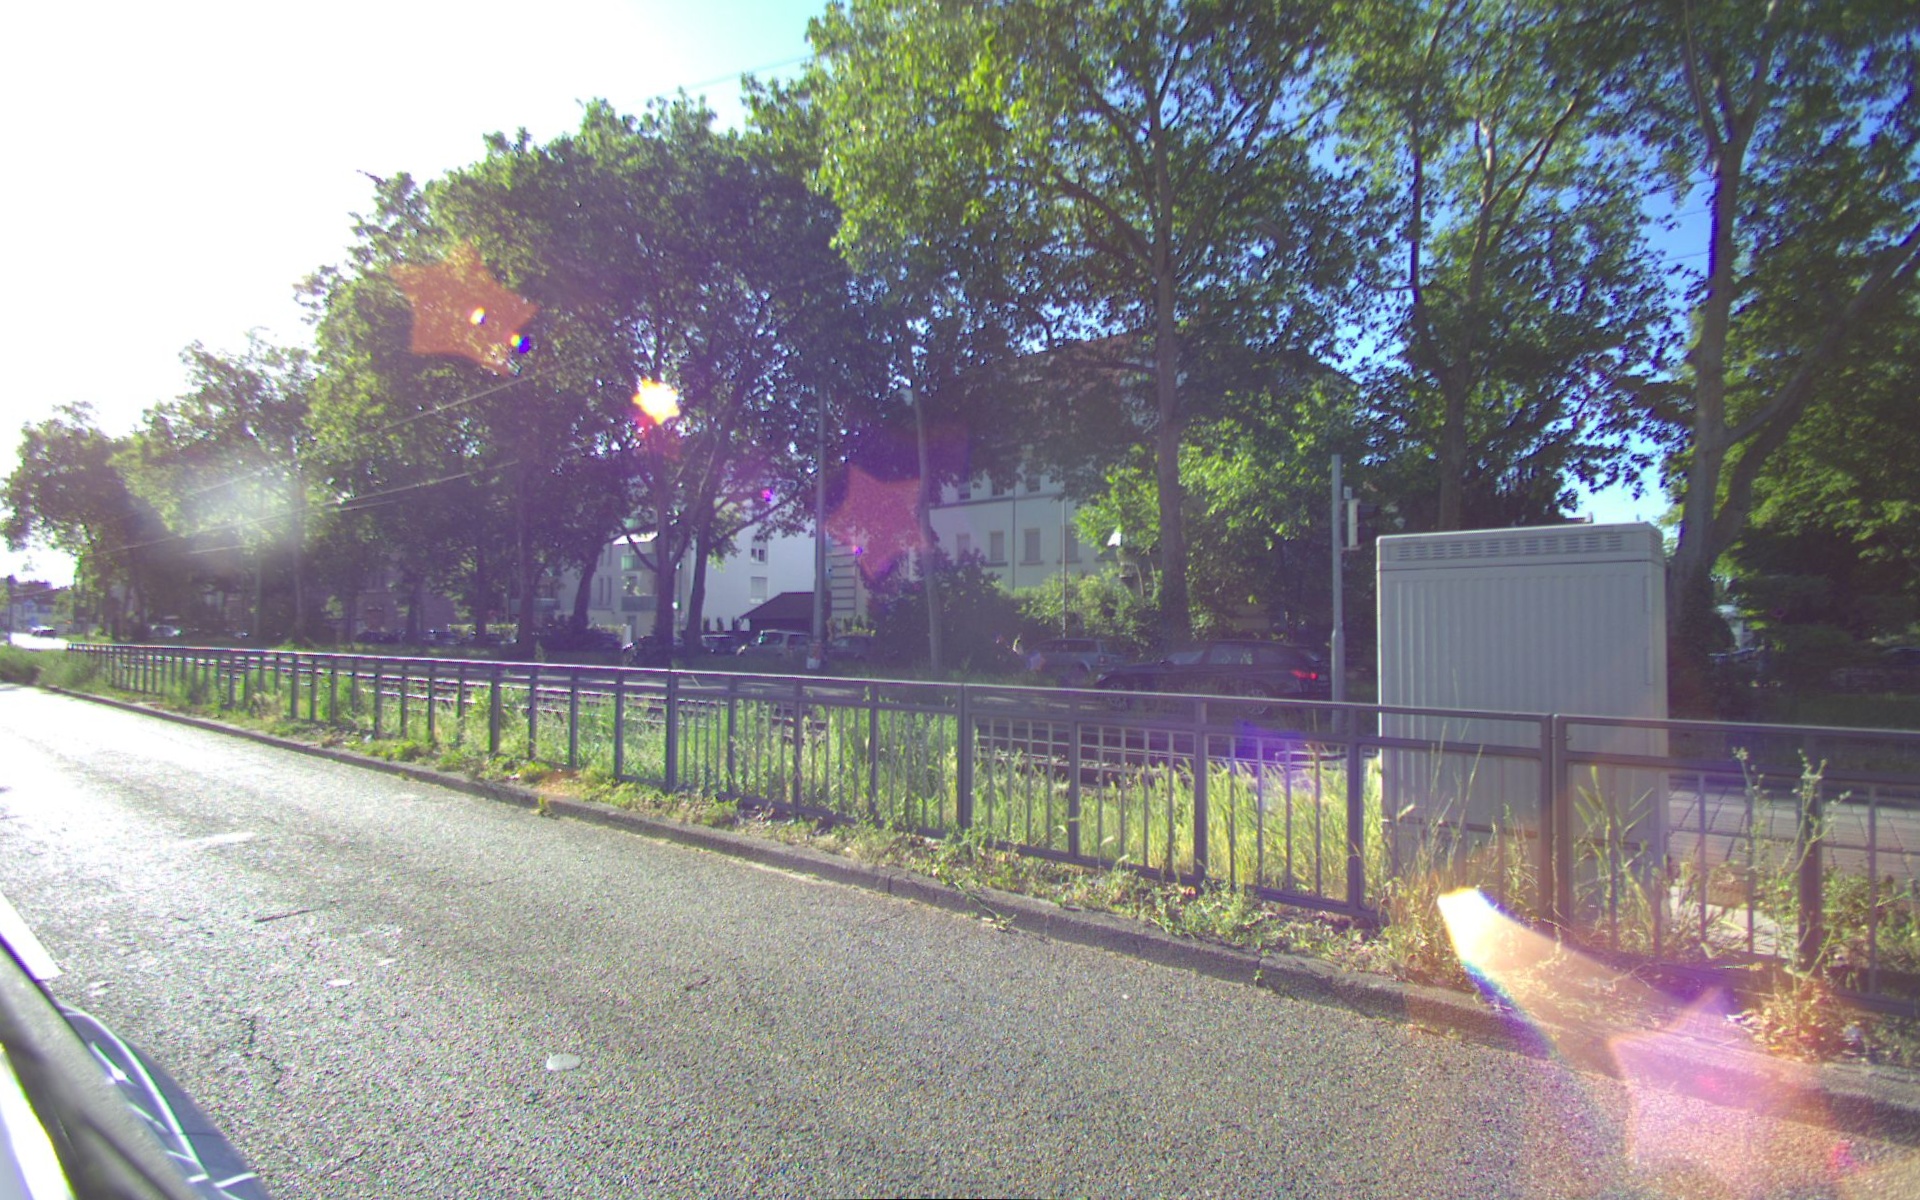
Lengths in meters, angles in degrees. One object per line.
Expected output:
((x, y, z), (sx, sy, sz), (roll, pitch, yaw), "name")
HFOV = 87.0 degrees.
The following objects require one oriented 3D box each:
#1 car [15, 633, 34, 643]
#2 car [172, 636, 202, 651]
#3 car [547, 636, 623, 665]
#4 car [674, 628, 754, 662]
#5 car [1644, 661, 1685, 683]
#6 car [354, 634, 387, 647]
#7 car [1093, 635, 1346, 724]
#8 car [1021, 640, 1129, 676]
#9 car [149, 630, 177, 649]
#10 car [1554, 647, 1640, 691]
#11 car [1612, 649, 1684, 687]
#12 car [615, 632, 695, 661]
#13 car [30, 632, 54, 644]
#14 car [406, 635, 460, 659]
((-157.858, 6.393, 170.741), (4.000, 1.720, 1.971), (-2, -3, 43), "car")
((-79.079, 4.390, 103.536), (3.687, 1.497, 1.748), (-2, -3, 42), "car")
((-19.780, 2.644, 53.336), (4.317, 1.464, 1.972), (-2, -3, 42), "car")
((-11.209, 2.037, 46.071), (3.696, 1.476, 1.756), (-2, -3, 42), "car")
((39.648, 4.022, 56.951), (1.531, 1.127, 3.083), (-2, -2, 41), "car")
((-42.132, 2.910, 72.340), (3.058, 0.883, 1.094), (-2, -3, 41), "car")
((4.816, 1.418, 19.143), (4.337, 1.510, 1.667), (-2, -2, 38), "car")
((3.715, 1.856, 32.929), (3.213, 1.125, 1.458), (-2, -3, 38), "car")
((-86.781, 4.306, 110.137), (1.970, 2.029, 4.002), (1, -2, -45), "car")
((22.935, 2.430, 36.381), (1.999, 1.429, 3.945), (-2, -2, 41), "car")
((28.742, 2.802, 42.244), (1.999, 1.429, 3.945), (-2, -2, 41), "car")
((-14.842, 2.240, 49.141), (4.459, 1.334, 1.623), (-2, -5, 42), "car")
((-129.091, 5.367, 142.350), (4.456, 1.660, 1.839), (-2, -2, 40), "car")
((-34.254, 3.017, 65.763), (3.998, 1.484, 1.778), (-2, -3, 41), "car")
